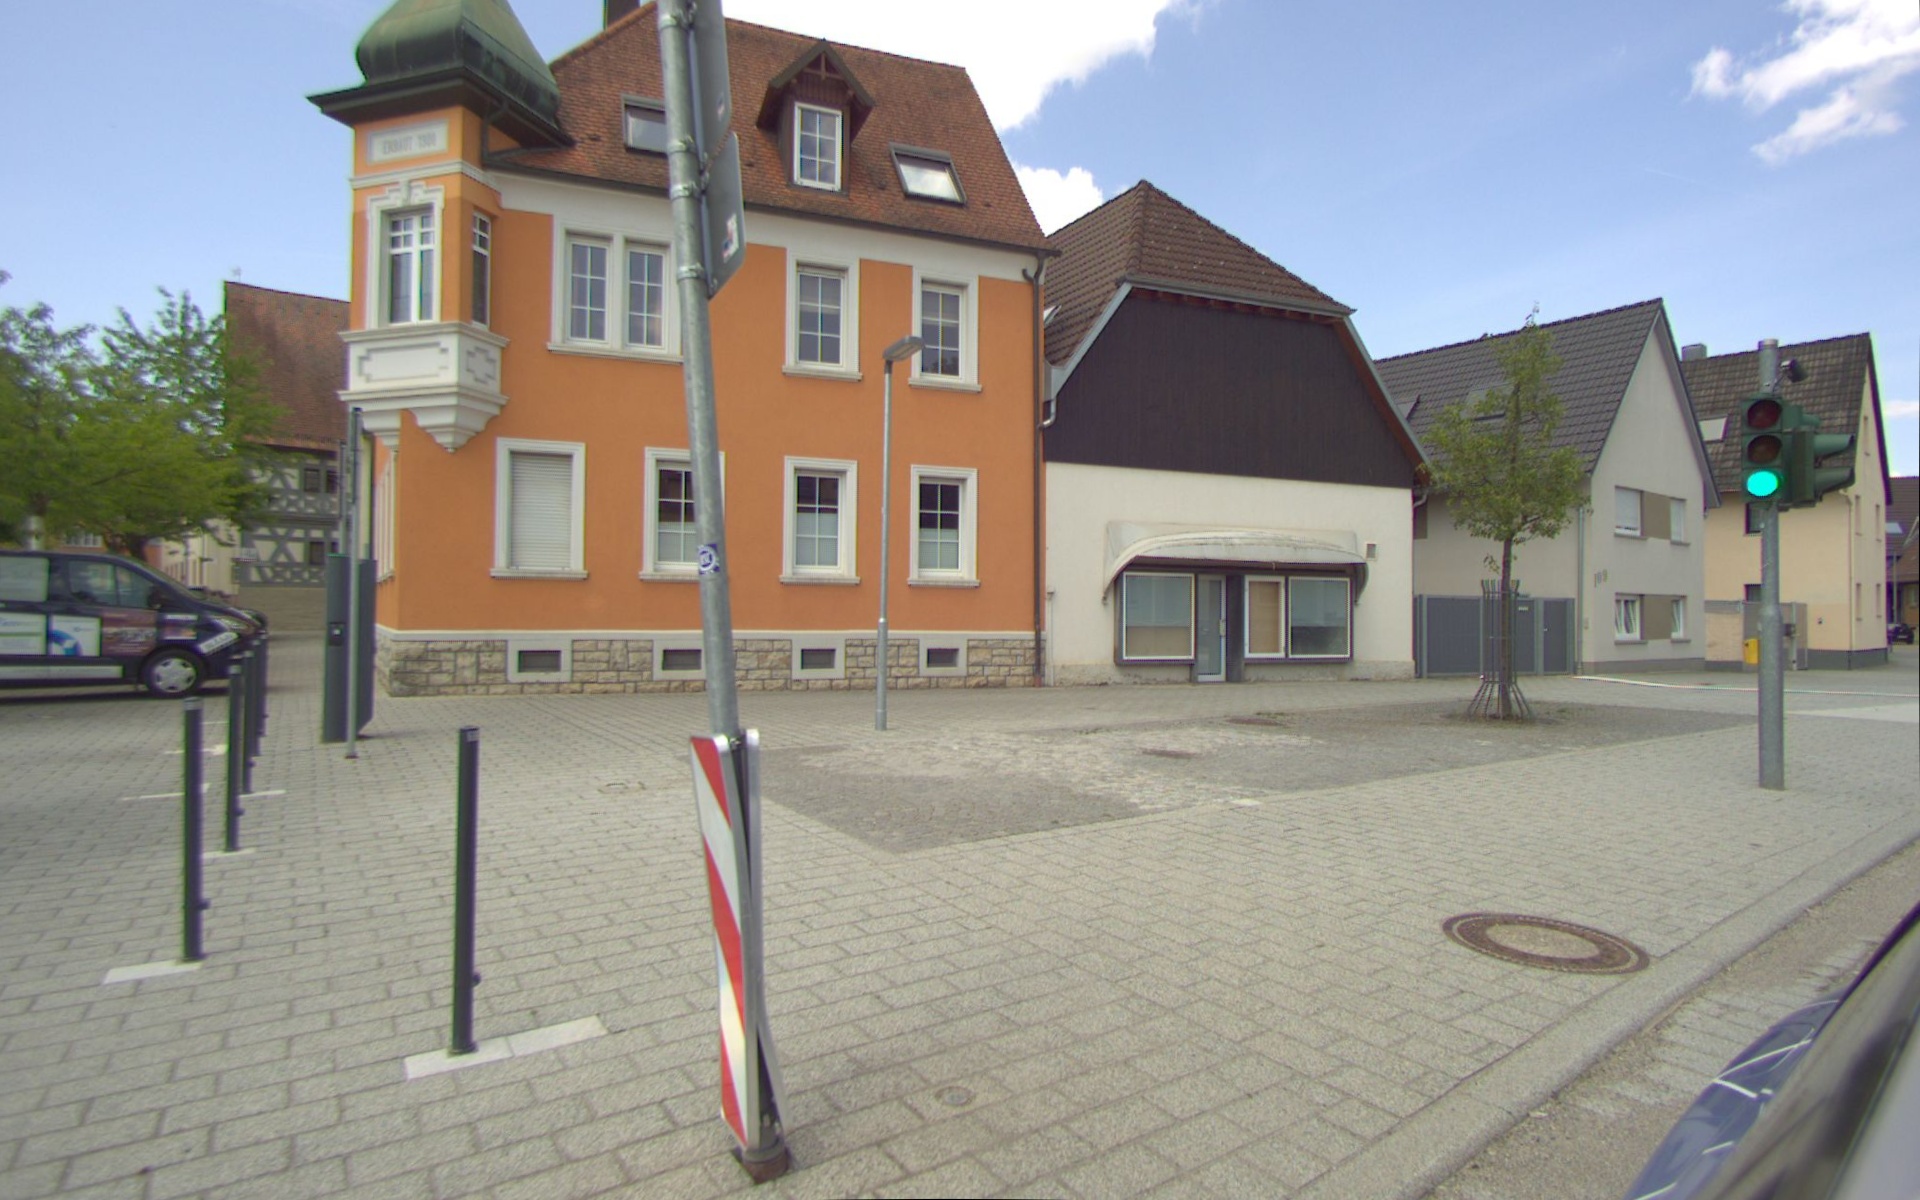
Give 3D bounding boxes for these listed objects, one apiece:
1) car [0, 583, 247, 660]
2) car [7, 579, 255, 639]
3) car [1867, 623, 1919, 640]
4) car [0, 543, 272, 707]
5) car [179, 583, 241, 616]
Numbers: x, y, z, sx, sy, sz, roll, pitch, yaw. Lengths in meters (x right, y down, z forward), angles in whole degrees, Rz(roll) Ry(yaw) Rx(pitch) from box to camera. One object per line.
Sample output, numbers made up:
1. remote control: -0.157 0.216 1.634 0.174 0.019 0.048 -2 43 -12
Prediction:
1. car: -17.669 0.432 20.648 5.027 1.460 2.000 1 -1 -34
2. car: -23.837 0.296 29.453 5.389 1.593 2.000 1 -1 -34
3. car: 61.912 2.056 66.759 1.782 1.073 3.972 0 -1 21
4. car: -12.432 0.315 13.435 5.389 2.039 2.000 1 -1 -34
5. car: -40.398 0.021 54.615 1.960 1.693 5.500 1 -1 -29
